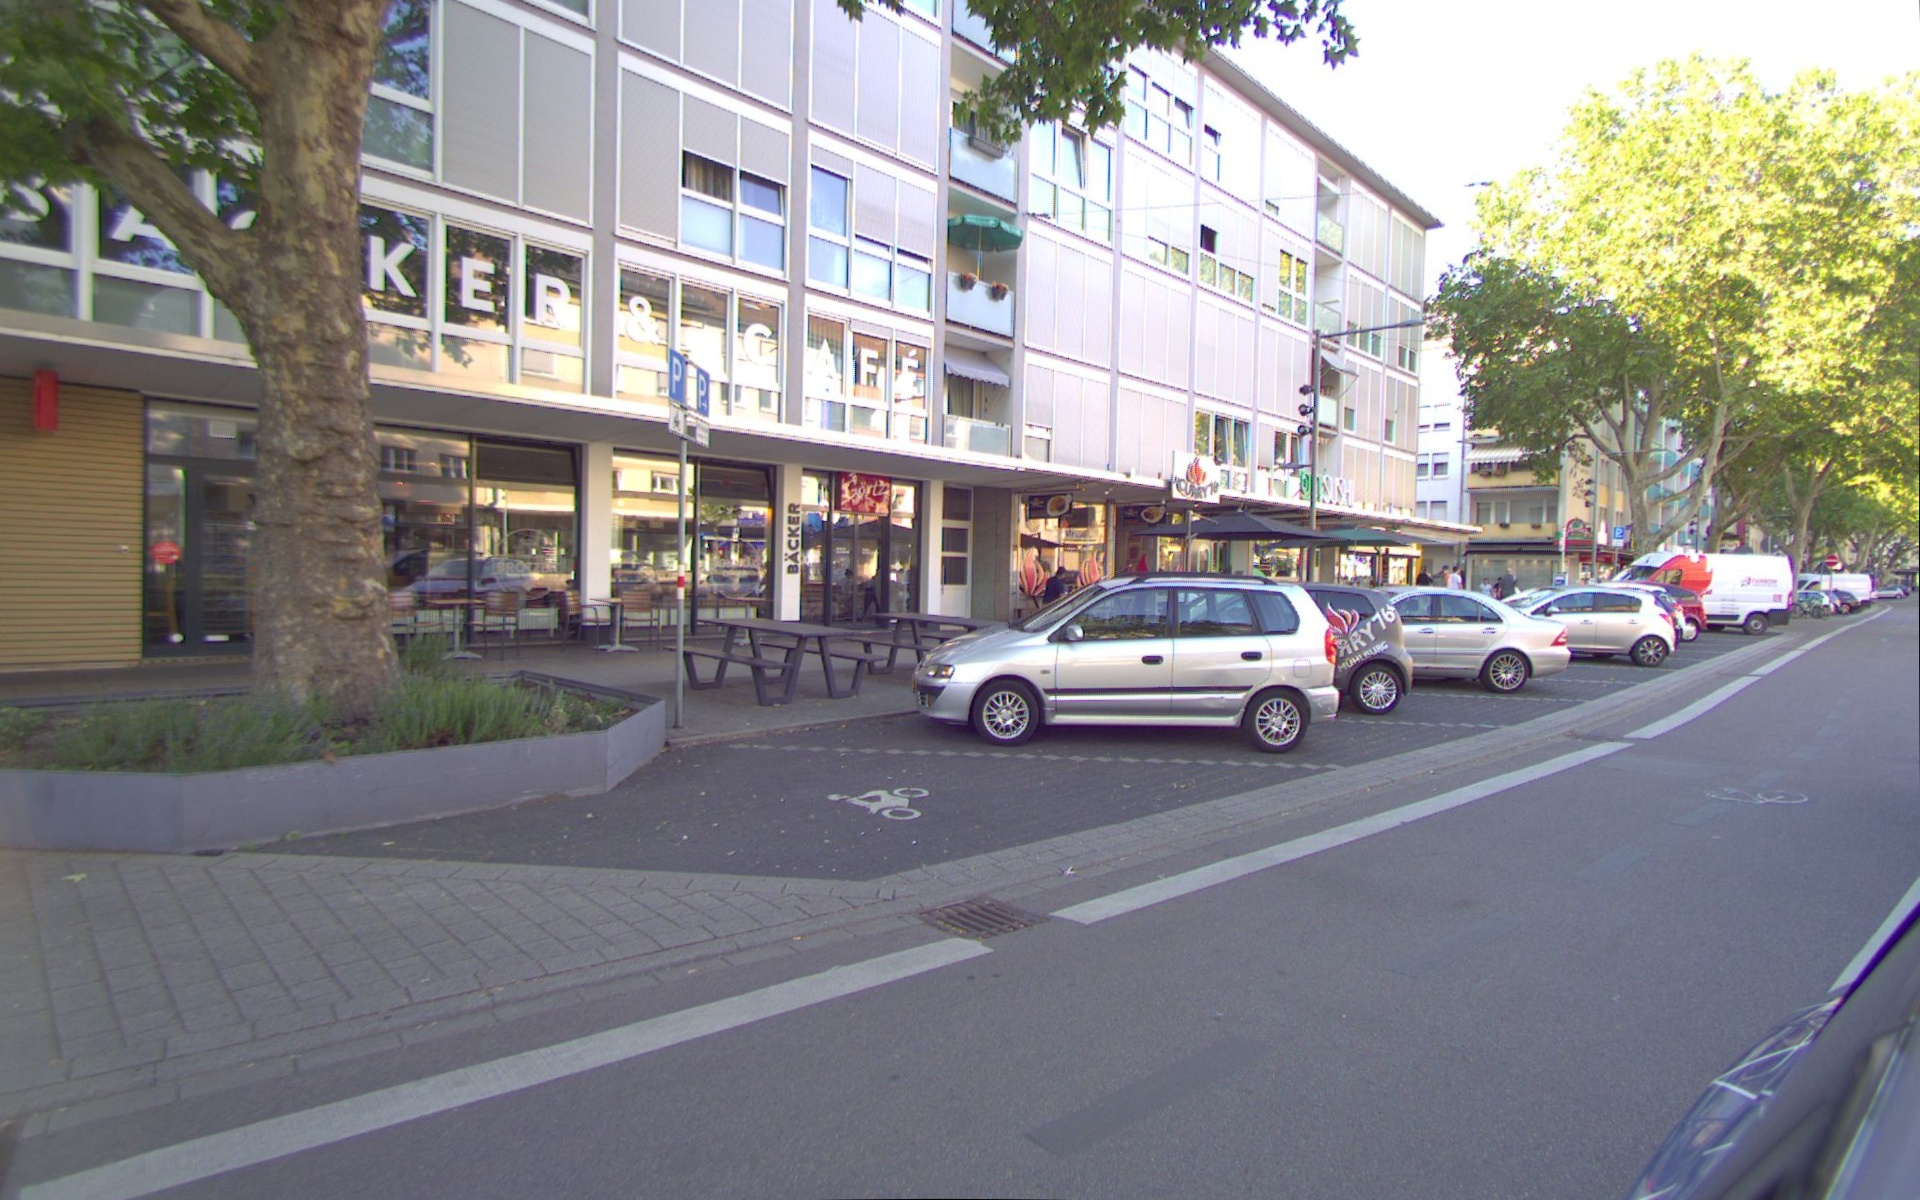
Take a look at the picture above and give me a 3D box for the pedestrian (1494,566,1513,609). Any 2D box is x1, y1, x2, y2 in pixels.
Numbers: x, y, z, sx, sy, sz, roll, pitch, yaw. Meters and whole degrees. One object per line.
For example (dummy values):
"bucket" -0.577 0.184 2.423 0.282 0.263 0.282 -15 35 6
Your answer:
"pedestrian" 22.097 -0.503 41.158 0.544 1.741 0.450 2 2 45

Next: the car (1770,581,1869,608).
"car" 47.986 -0.324 56.587 3.864 1.422 1.782 1 2 3

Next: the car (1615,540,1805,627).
"car" 23.621 -0.536 32.016 4.514 2.525 1.675 2 1 5

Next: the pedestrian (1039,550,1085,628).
"pedestrian" 2.152 -0.245 21.315 0.757 1.602 0.583 0 2 -39

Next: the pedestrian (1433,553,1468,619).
"pedestrian" 15.430 -0.443 31.842 0.746 2.038 0.752 3 2 45

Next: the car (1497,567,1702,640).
"car" 15.802 0.045 25.233 3.888 1.445 1.669 4 5 17

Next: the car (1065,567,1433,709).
"car" 3.357 0.408 12.251 3.864 1.446 1.679 2 3 -3

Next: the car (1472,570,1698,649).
"car" 13.830 0.157 22.657 3.886 1.446 1.670 3 3 16

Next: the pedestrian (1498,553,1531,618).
"pedestrian" 17.756 -0.470 32.427 0.746 2.038 0.550 3 2 45

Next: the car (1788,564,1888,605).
"car" 56.416 -1.042 65.096 4.512 2.499 1.977 1 2 3

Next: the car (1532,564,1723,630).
"car" 18.003 -0.122 27.498 3.888 1.445 1.669 4 5 17

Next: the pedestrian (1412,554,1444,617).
"pedestrian" 15.076 -0.470 32.584 0.746 2.000 0.566 3 2 45

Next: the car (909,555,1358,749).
"car" 1.494 0.432 9.715 3.906 1.560 1.679 2 3 -3

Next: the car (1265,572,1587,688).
"car" 6.661 0.392 14.753 3.867 1.418 1.598 2 3 1

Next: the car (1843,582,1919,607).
"car" 56.308 -0.336 61.305 3.864 1.350 1.782 1 2 3

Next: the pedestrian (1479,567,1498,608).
"pedestrian" 21.715 -0.499 41.554 0.536 1.660 0.470 2 2 45

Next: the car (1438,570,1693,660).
"car" 11.693 0.256 19.743 3.871 1.446 1.559 3 3 4
